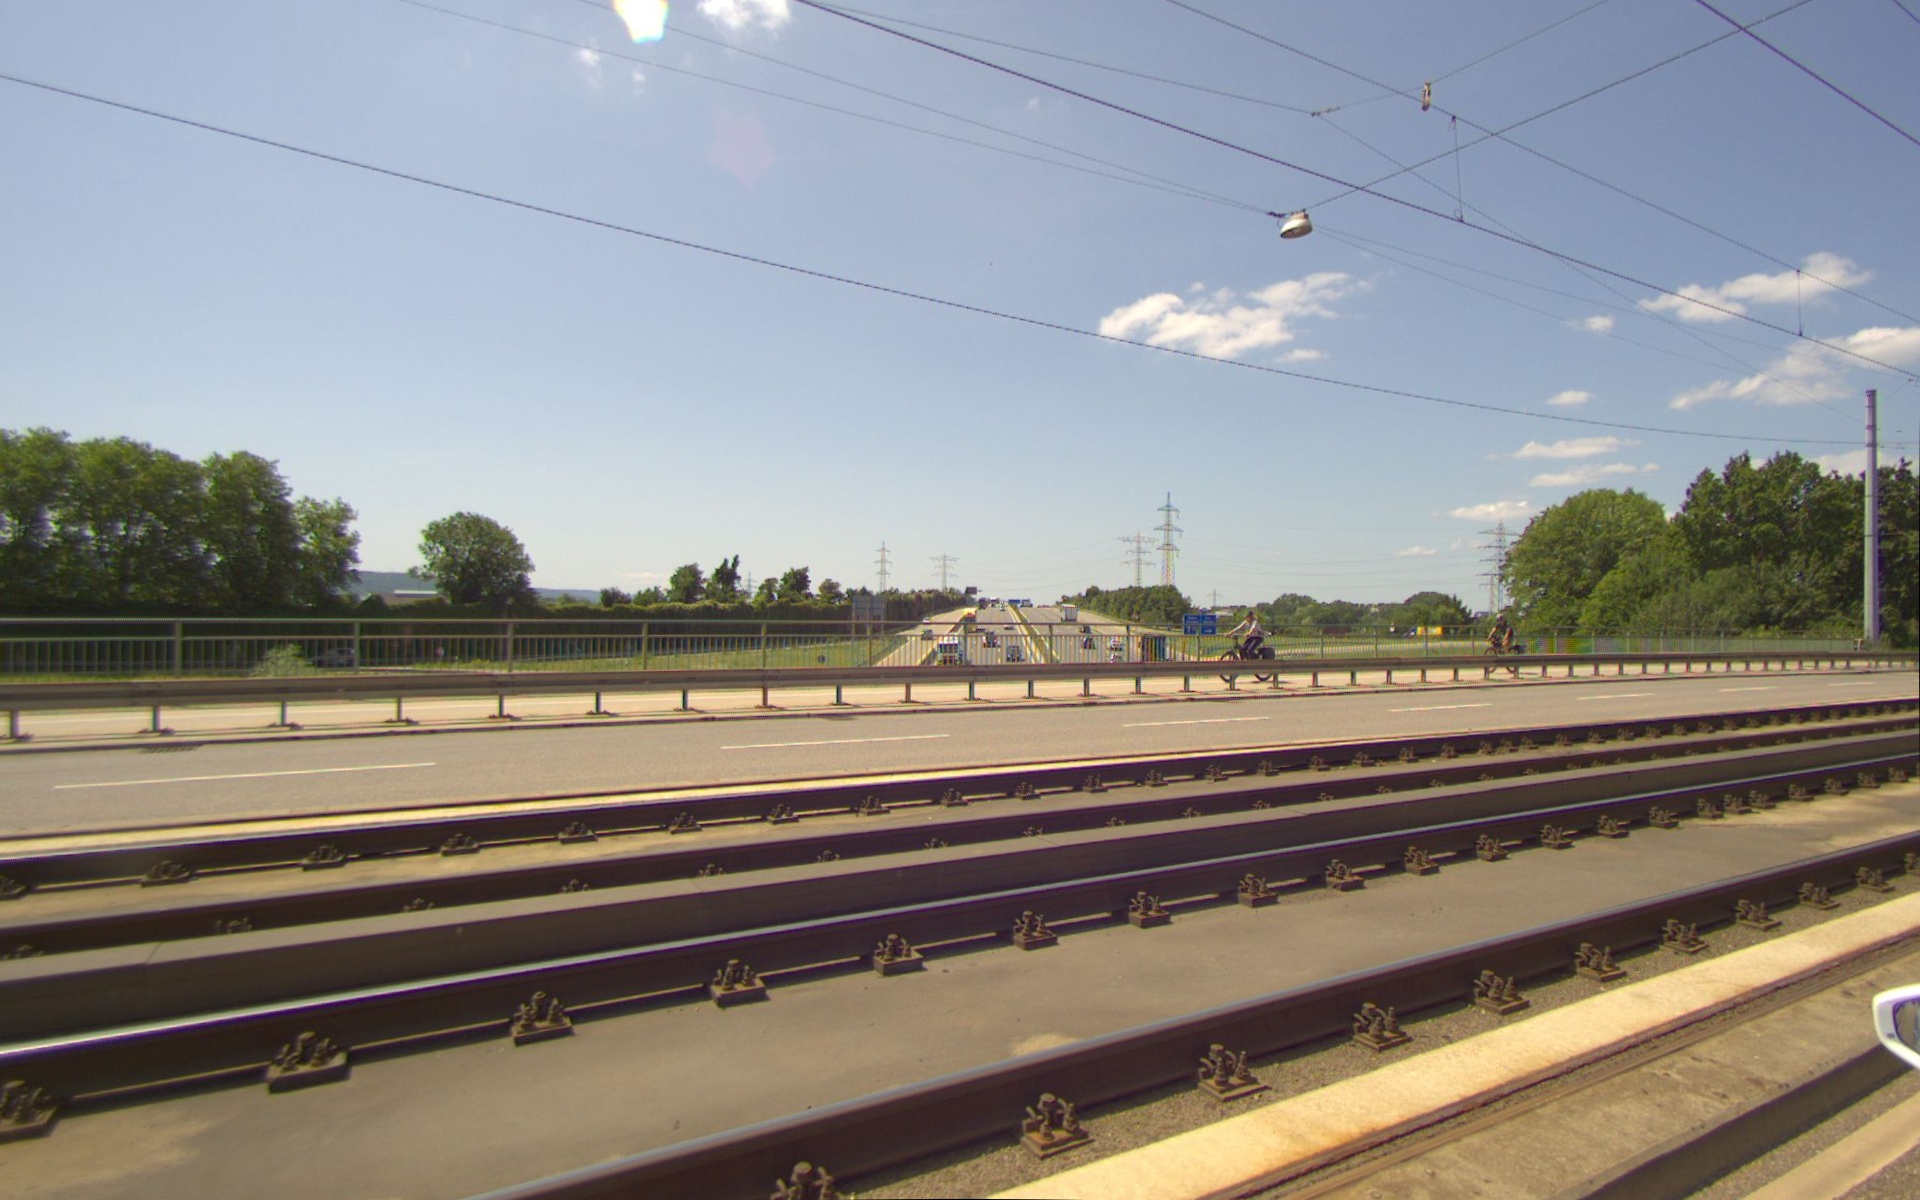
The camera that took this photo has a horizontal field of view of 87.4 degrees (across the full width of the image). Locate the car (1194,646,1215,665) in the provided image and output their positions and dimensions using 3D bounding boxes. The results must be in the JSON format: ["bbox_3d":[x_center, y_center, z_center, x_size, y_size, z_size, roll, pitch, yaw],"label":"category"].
[{"bbox_3d":[32.375,7.365,133.166,1.960,2.041,4.001,3,3,5],"label":"car"}]

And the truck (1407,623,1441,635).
[{"bbox_3d":[75.244,4.677,162.890,4.721,1.792,1.945,1,2,34],"label":"truck"}]

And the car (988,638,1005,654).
[{"bbox_3d":[5.264,6.575,145.275,2.069,2.040,5.399,1,0,6],"label":"car"}]

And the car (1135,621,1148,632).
[{"bbox_3d":[34.761,5.154,192.661,1.706,1.665,3.999,3,4,1],"label":"car"}]

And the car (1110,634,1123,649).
[{"bbox_3d":[22.132,5.815,142.160,1.705,1.665,4.001,3,4,8],"label":"car"}]

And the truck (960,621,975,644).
[{"bbox_3d":[1.484,6.089,192.190,2.588,3.811,16.555,1,0,1],"label":"truck"}]

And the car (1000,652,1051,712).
[{"bbox_3d":[7.261,8.596,109.114,4.919,4.547,22.466,1,0,4],"label":"car"}]

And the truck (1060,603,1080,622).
[{"bbox_3d":[24.756,2.834,226.803,3.592,3.756,8.198,1,3,-1],"label":"truck"}]

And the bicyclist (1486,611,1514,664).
[{"bbox_3d":[15.783,1.081,29.375,0.523,1.517,0.518,0,1,-30],"label":"bicyclist"}]

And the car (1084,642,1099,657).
[{"bbox_3d":[18.552,6.971,141.630,1.705,1.665,4.000,3,4,3],"label":"car"}]

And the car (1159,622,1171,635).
[{"bbox_3d":[33.299,4.613,163.161,1.705,1.665,4.001,3,4,10],"label":"car"}]

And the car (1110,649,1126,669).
[{"bbox_3d":[17.396,6.522,110.841,1.563,1.665,4.001,3,4,7],"label":"car"}]

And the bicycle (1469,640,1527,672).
[{"bbox_3d":[15.721,1.618,29.347,2.012,0.854,0.520,1,1,-31],"label":"bicycle"}]

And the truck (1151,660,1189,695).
[{"bbox_3d":[19.391,7.117,93.017,2.835,2.239,6.451,3,4,7],"label":"truck"}]

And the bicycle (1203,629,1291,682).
[{"bbox_3d":[6.882,1.310,24.079,2.038,1.201,0.852,1,0,-30],"label":"bicycle"}]

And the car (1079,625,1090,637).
[{"bbox_3d":[23.423,5.821,189.010,1.896,1.665,4.001,3,4,6],"label":"car"}]

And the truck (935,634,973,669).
[{"bbox_3d":[-0.594,5.746,114.719,2.693,3.268,13.735,1,0,6],"label":"truck"}]

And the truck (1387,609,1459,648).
[{"bbox_3d":[78.368,4.763,170.184,10.615,5.714,3.289,3,4,28],"label":"truck"}]

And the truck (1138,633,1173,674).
[{"bbox_3d":[20.558,5.587,106.068,2.735,3.499,6.587,3,3,5],"label":"truck"}]

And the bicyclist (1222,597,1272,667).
[{"bbox_3d":[6.890,0.762,24.102,0.828,1.643,0.759,1,0,-30],"label":"bicyclist"}]
